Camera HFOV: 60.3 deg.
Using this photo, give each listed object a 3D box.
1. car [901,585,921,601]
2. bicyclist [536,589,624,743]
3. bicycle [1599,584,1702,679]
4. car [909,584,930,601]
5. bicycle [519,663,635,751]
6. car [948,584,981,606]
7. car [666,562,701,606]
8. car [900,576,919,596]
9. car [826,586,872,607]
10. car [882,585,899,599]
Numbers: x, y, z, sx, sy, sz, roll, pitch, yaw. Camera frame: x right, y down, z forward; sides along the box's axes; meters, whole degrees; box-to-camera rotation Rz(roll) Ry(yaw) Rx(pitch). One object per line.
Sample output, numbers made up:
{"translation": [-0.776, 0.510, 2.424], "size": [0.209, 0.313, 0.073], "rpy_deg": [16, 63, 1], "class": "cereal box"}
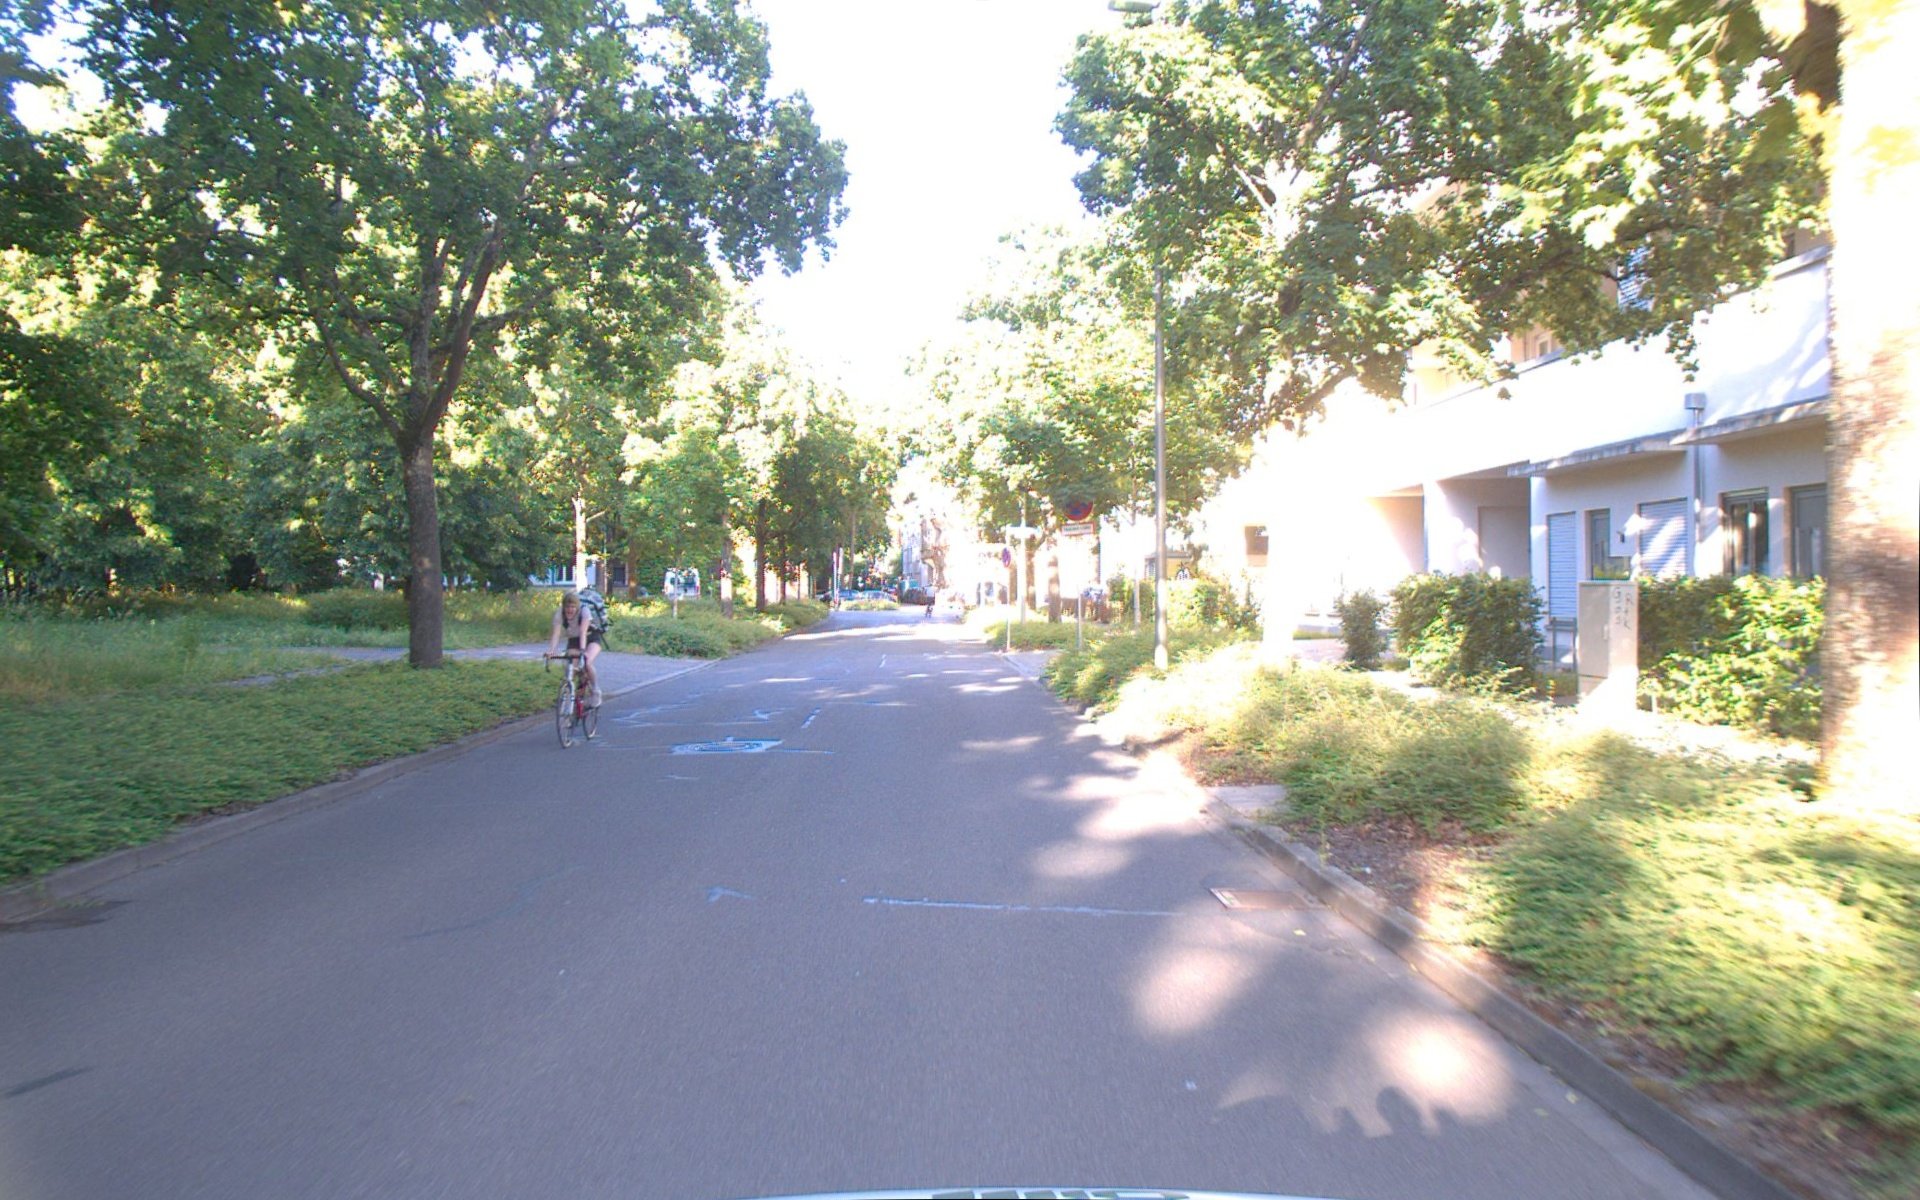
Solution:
{"translation": [-4.887, -0.739, 163.851], "size": [1.776, 1.527, 3.996], "rpy_deg": [1, 0, -5], "class": "car"}
{"translation": [-4.066, 0.687, 17.746], "size": [0.620, 1.582, 1.003], "rpy_deg": [-2, 0, 3], "class": "bicyclist"}
{"translation": [9.202, 0.401, 22.114], "size": [0.605, 1.212, 1.753], "rpy_deg": [1, 0, -2], "class": "bicycle"}
{"translation": [-3.896, -0.699, 157.342], "size": [1.776, 1.527, 3.996], "rpy_deg": [1, 0, -5], "class": "car"}
{"translation": [-4.054, 1.117, 17.663], "size": [0.625, 0.755, 2.127], "rpy_deg": [-2, 0, 3], "class": "bicycle"}
{"translation": [0.314, -0.368, 120.586], "size": [1.778, 1.527, 3.992], "rpy_deg": [-1, 1, -9], "class": "car"}
{"translation": [-16.169, -0.926, 96.704], "size": [1.957, 2.552, 3.991], "rpy_deg": [1, 0, -10], "class": "car"}
{"translation": [-5.317, -1.461, 174.043], "size": [1.776, 2.086, 3.996], "rpy_deg": [1, 0, -5], "class": "car"}
{"translation": [-8.759, -0.289, 130.649], "size": [3.521, 1.536, 1.497], "rpy_deg": [1, 0, -10], "class": "car"}
{"translation": [-8.079, -0.924, 190.908], "size": [1.776, 1.527, 3.996], "rpy_deg": [1, 0, -5], "class": "car"}
